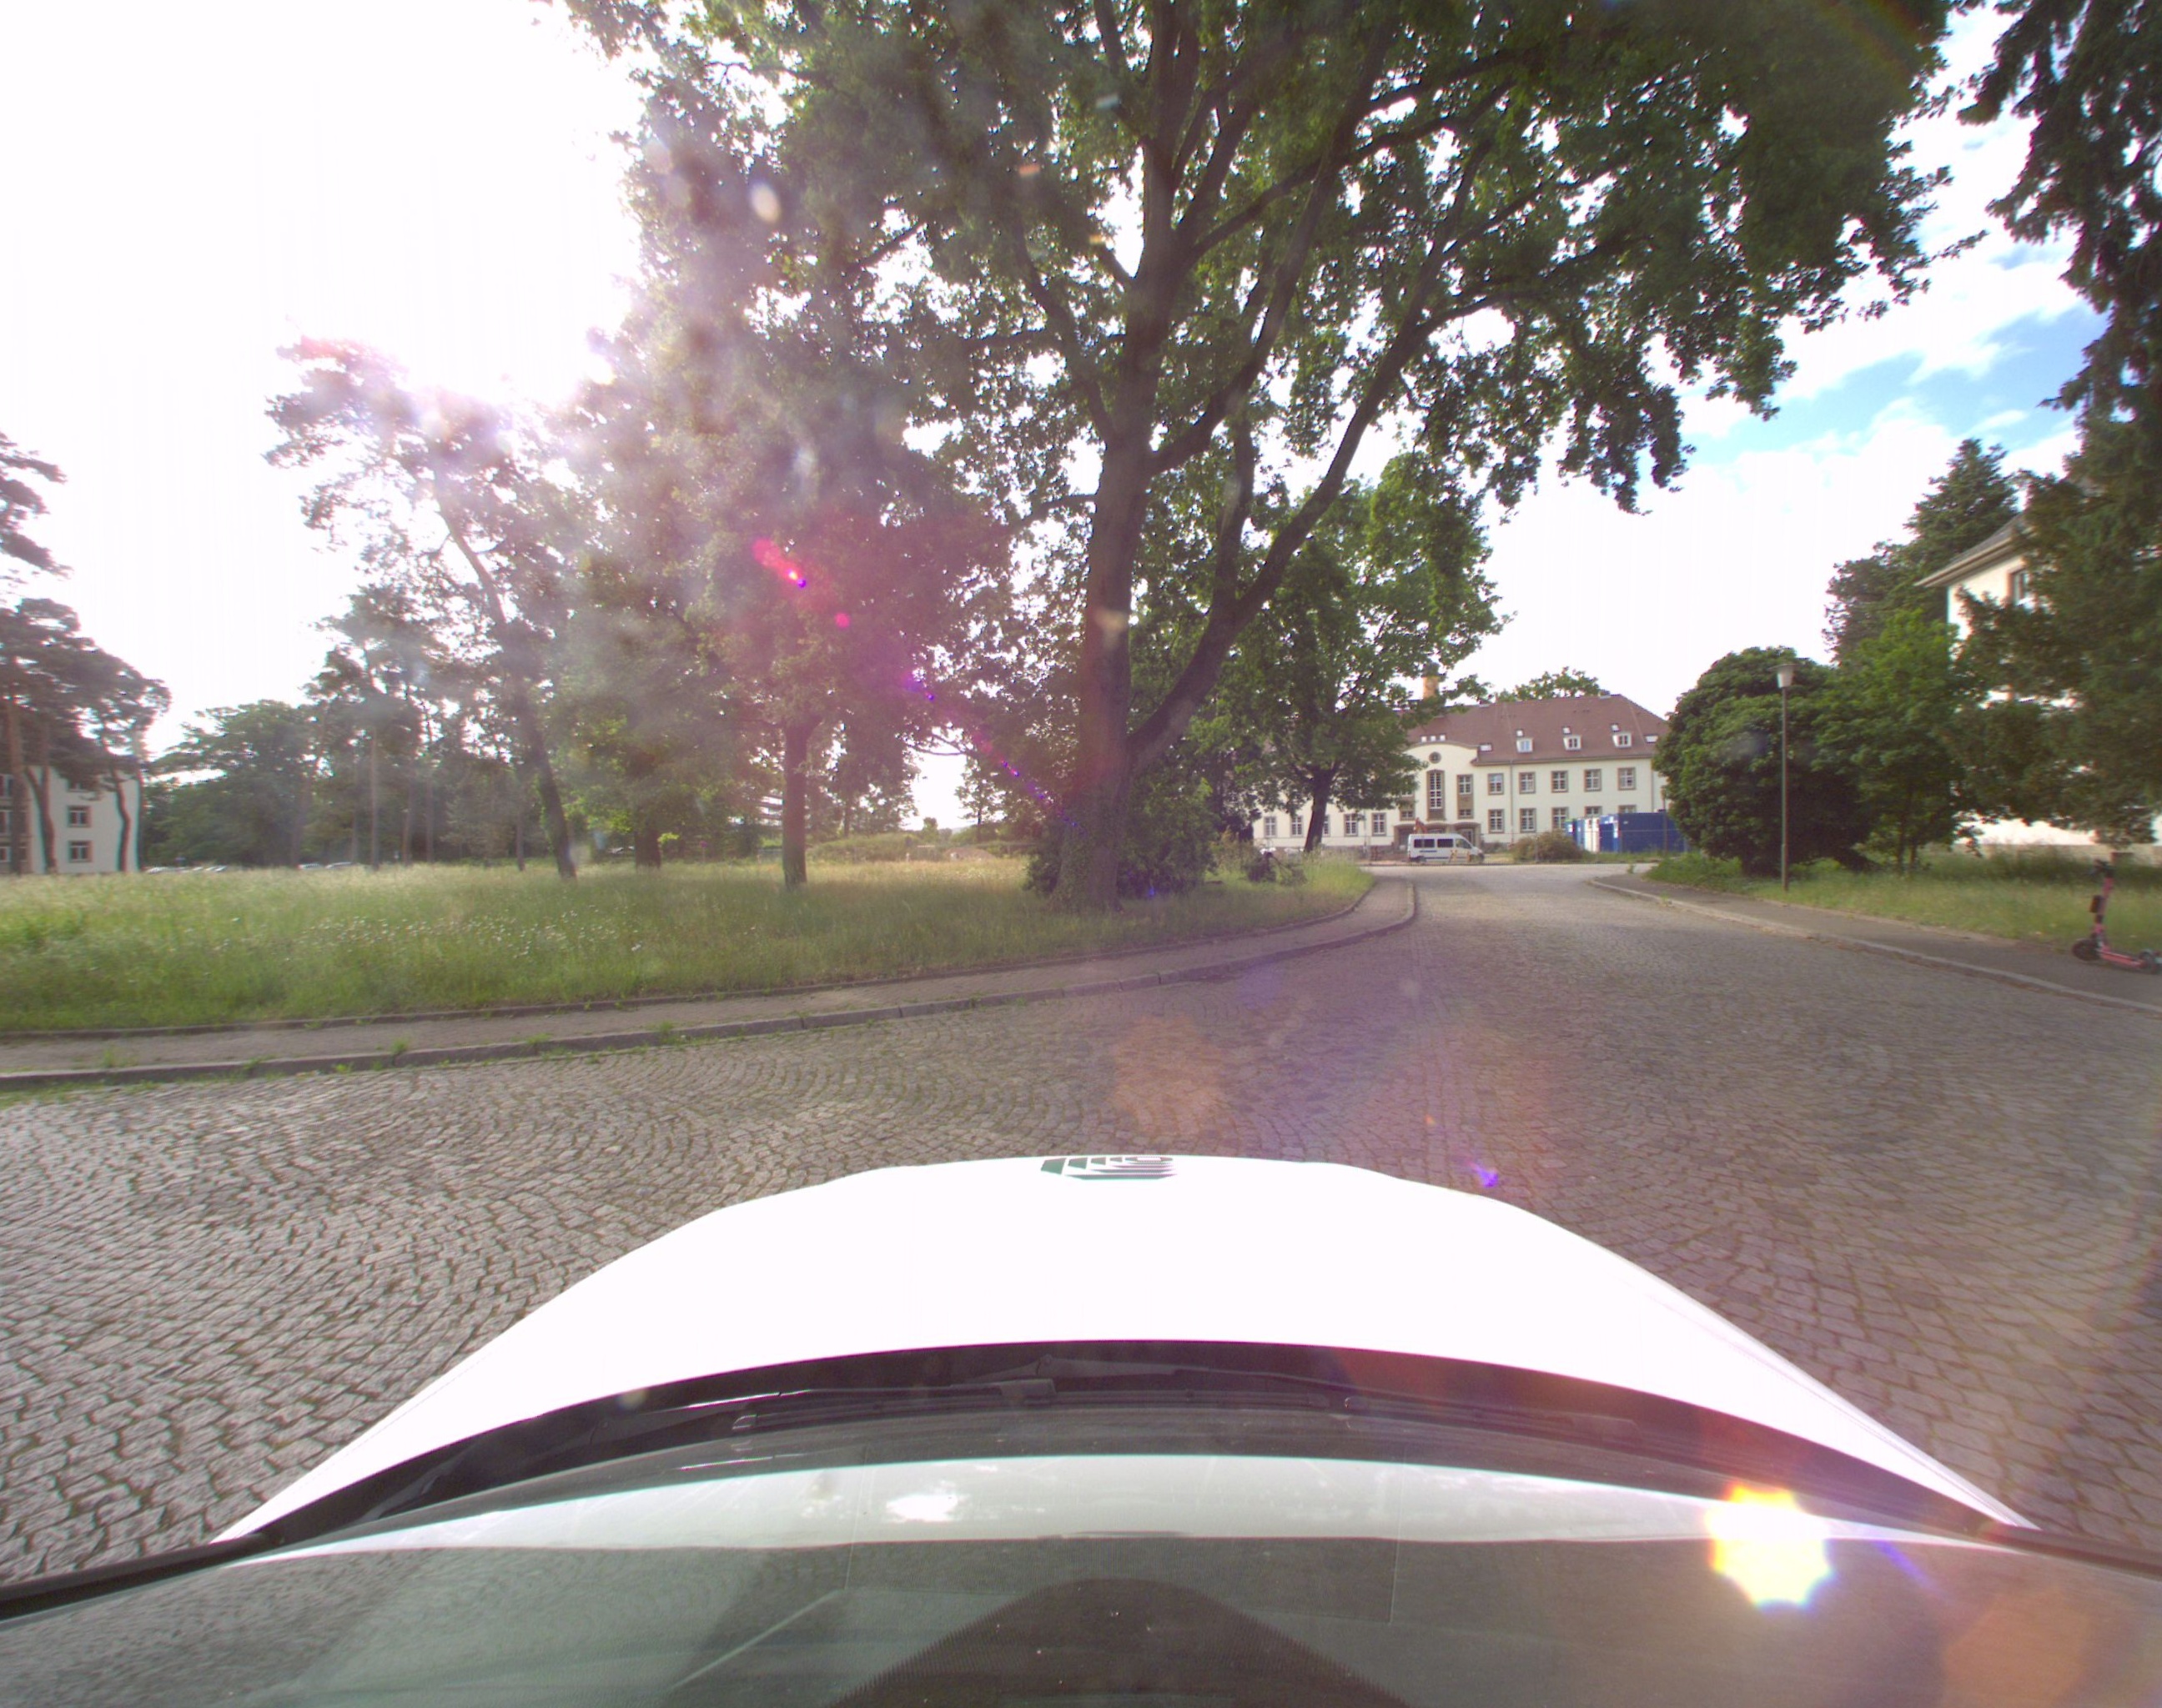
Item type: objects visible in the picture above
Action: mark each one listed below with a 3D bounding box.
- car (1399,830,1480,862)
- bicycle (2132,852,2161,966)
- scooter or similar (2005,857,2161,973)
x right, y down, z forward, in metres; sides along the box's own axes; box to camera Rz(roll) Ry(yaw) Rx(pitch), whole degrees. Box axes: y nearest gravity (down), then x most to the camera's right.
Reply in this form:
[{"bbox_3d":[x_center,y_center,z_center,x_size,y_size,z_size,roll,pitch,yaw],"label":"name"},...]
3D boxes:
[{"bbox_3d":[26.723,-0.609,60.845,5.466,2.206,2.138,0,4,22],"label":"car"},{"bbox_3d":[12.025,0.608,8.131,0.639,1.222,1.903,-3,1,3],"label":"bicycle"},{"bbox_3d":[11.603,0.658,9.382,0.674,1.195,1.562,-2,0,26],"label":"scooter or similar"}]
